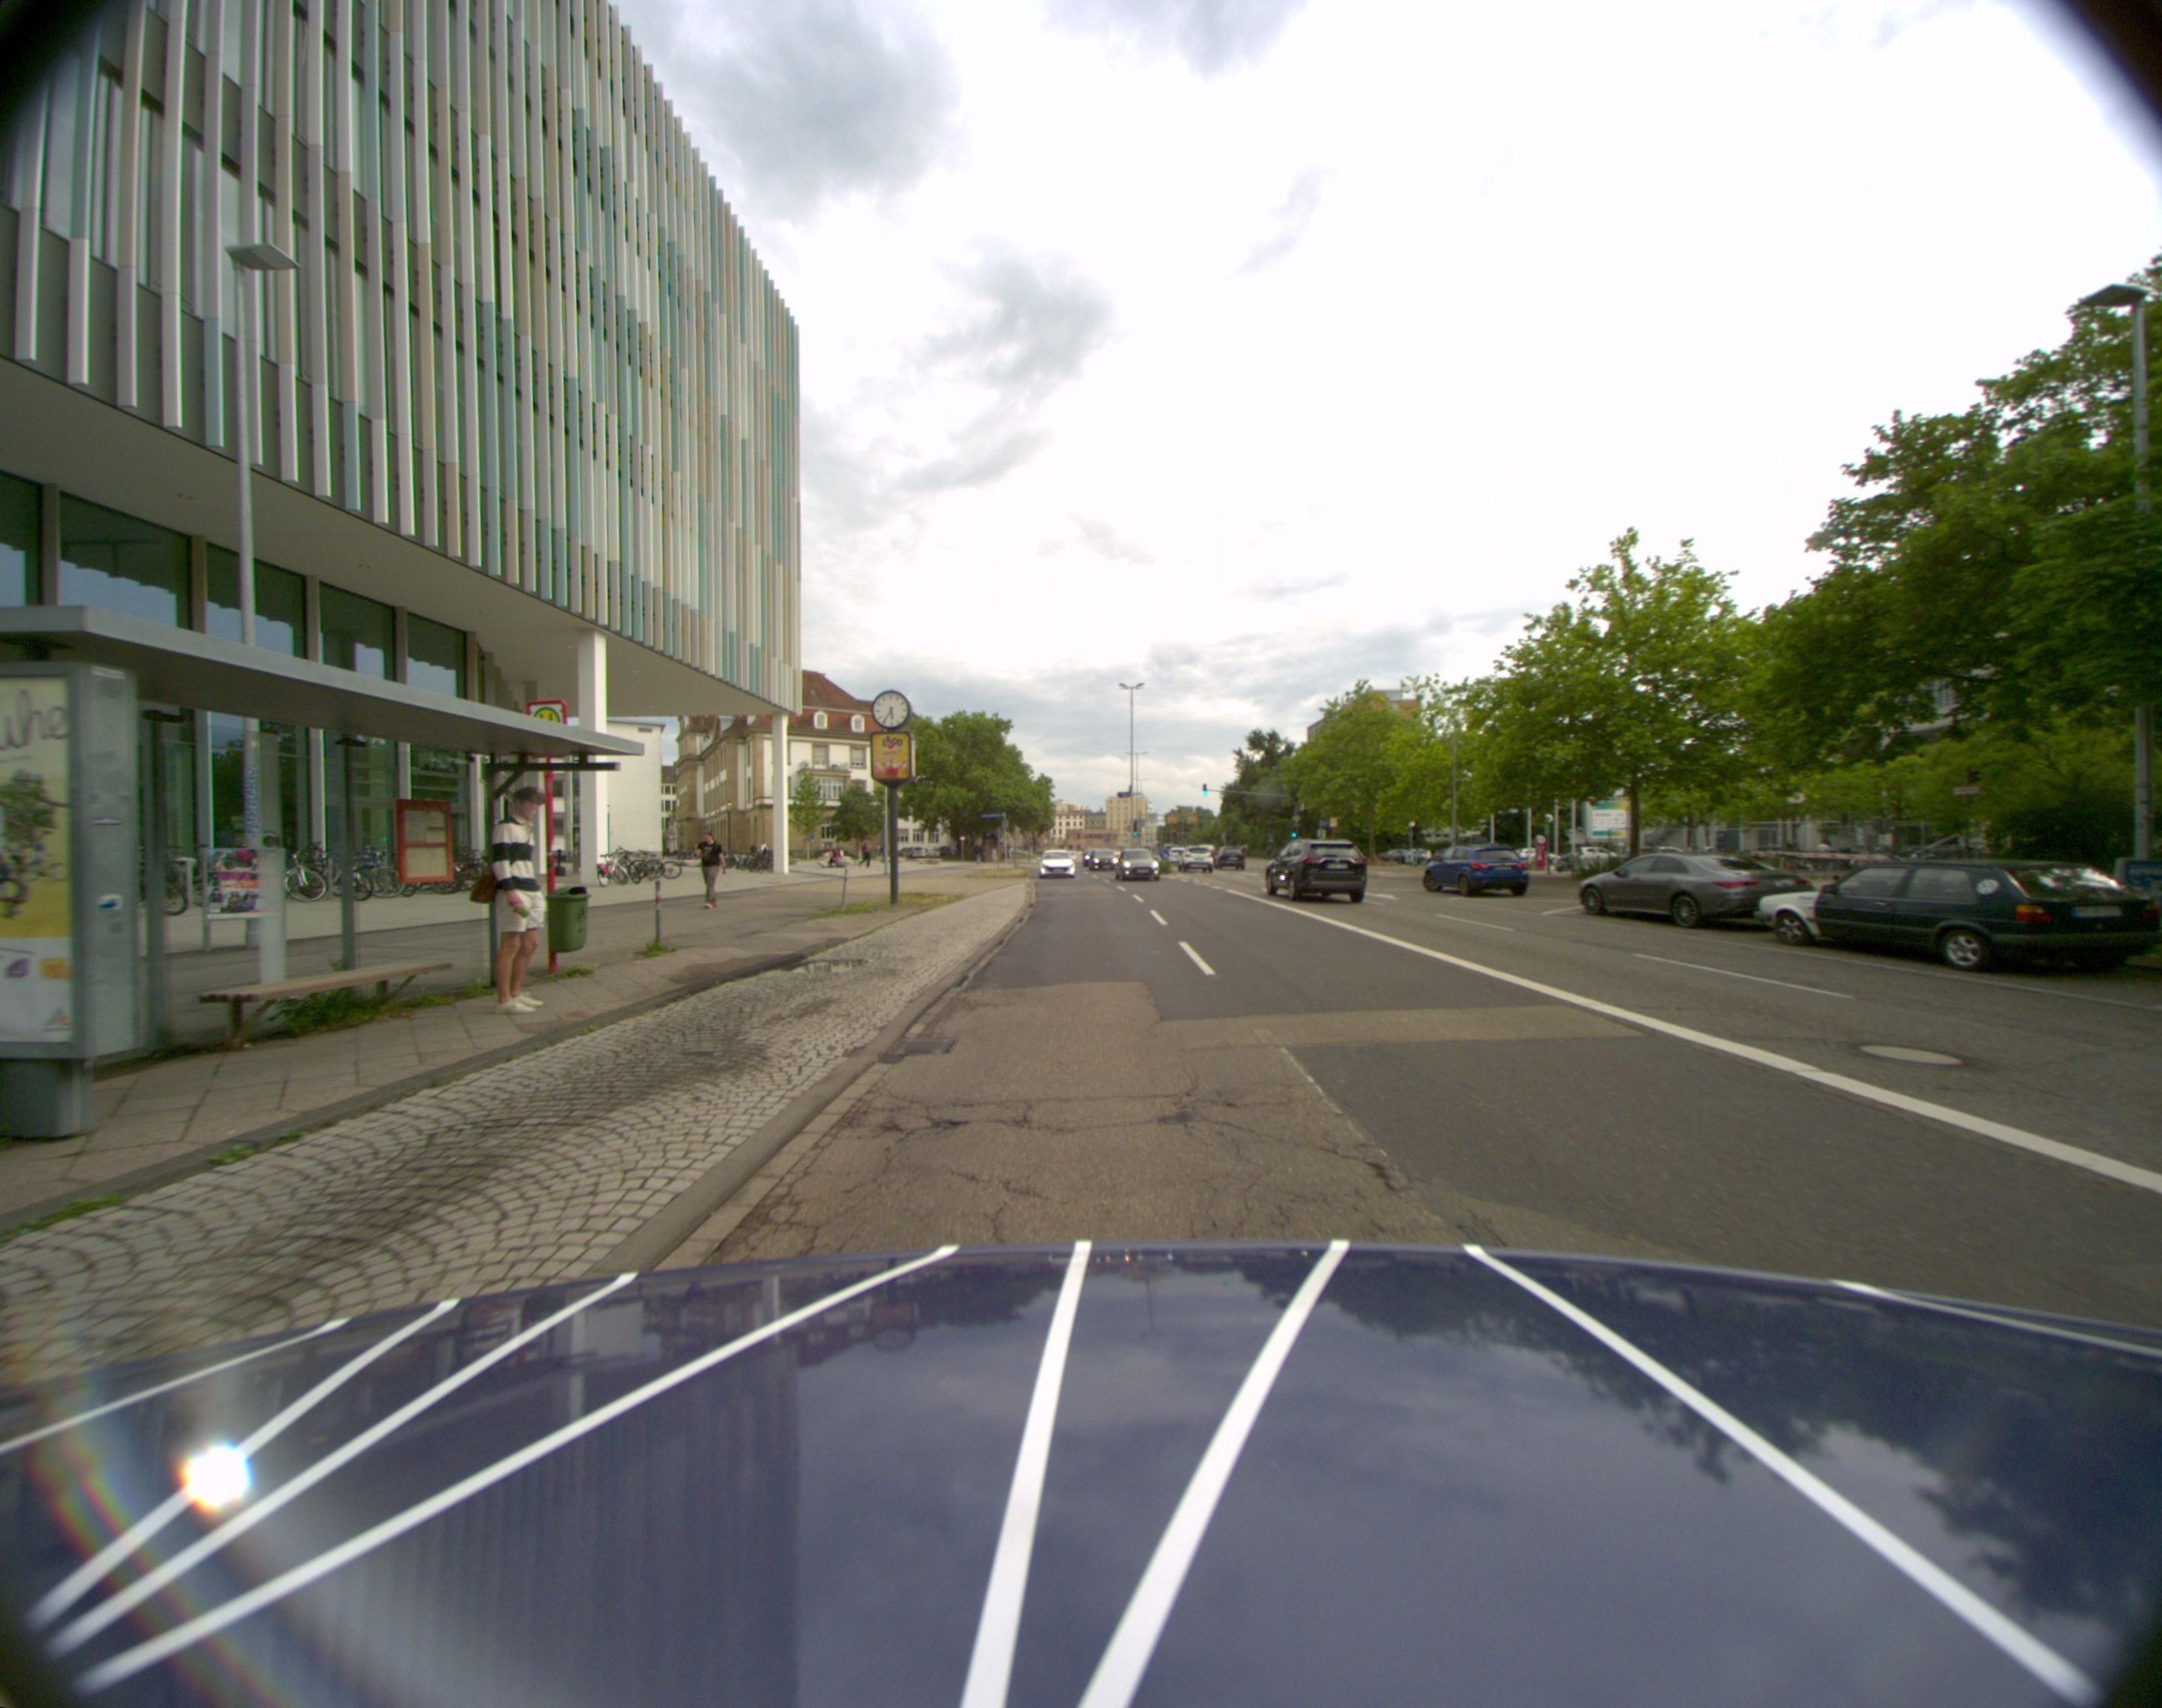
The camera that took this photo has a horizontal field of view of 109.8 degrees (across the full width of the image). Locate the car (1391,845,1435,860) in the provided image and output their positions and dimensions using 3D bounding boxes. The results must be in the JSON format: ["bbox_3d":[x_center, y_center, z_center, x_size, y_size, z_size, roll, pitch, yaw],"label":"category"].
[{"bbox_3d":[33.732,-0.162,77.300,3.593,1.442,1.863,-1,1,1],"label":"car"}]

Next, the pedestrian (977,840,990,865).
[{"bbox_3d":[-8.004,-0.142,62.323,0.844,2.002,0.894,0,1,3],"label":"pedestrian"}]

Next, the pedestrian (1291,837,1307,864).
[{"bbox_3d":[16.213,-0.291,56.515,0.896,2.002,1.009,0,1,-1],"label":"pedestrian"}]

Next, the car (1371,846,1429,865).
[{"bbox_3d":[27.604,0.091,65.766,4.153,1.463,1.999,-2,1,-2],"label":"car"}]

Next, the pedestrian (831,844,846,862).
[{"bbox_3d":[-18.175,-0.072,56.995,0.912,1.359,0.878,-2,1,-8],"label":"pedestrian"}]

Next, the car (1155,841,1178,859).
[{"bbox_3d":[8.790,-0.424,78.239,1.998,1.677,4.948,-2,0,3],"label":"car"}]

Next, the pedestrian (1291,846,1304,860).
[{"bbox_3d":[22.443,-0.065,78.792,0.701,1.420,0.998,-3,1,-27],"label":"pedestrian"}]

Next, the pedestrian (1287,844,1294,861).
[{"bbox_3d":[21.008,-0.170,76.247,0.590,1.685,0.653,0,1,4],"label":"pedestrian"}]

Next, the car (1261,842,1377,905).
[{"bbox_3d":[6.463,0.456,21.221,1.907,1.584,4.516,0,1,1],"label":"car"}]

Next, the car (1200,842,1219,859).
[{"bbox_3d":[14.479,-0.386,86.013,1.775,1.837,4.490,-2,1,6],"label":"car"}]

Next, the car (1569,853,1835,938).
[{"bbox_3d":[12.275,0.717,15.540,1.878,1.416,4.729,-1,0,5],"label":"car"}]

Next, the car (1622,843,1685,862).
[{"bbox_3d":[49.526,-0.137,65.735,3.996,1.544,1.889,0,1,1],"label":"car"}]

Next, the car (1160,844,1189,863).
[{"bbox_3d":[7.892,-0.052,64.377,1.908,1.457,4.910,-2,1,1],"label":"car"}]

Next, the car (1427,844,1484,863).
[{"bbox_3d":[32.419,-0.051,65.838,3.998,1.463,1.999,-2,1,-2],"label":"car"}]

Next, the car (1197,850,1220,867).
[{"bbox_3d":[12.931,0.407,77.129,1.702,1.680,4.000,0,1,1],"label":"car"}]

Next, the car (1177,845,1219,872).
[{"bbox_3d":[7.090,0.223,46.419,1.998,1.538,4.179,1,1,1],"label":"car"}]

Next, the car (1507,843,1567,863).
[{"bbox_3d":[39.459,-0.074,65.775,3.997,1.570,2.000,-2,1,0],"label":"car"}]

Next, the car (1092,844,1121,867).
[{"bbox_3d":[1.747,0.088,50.876,1.731,1.450,4.001,0,1,5],"label":"car"}]

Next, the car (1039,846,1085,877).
[{"bbox_3d":[-0.953,0.367,39.938,1.812,1.533,4.002,0,1,8],"label":"car"}]

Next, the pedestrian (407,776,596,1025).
[{"bbox_3d":[-5.005,0.388,6.632,0.914,2.001,0.854,2,-1,0],"label":"pedestrian"}]

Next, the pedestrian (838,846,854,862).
[{"bbox_3d":[-17.984,-0.001,58.124,0.911,1.250,0.879,-2,1,4],"label":"pedestrian"}]

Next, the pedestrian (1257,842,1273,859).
[{"bbox_3d":[21.912,-0.421,90.564,1.185,2.002,1.350,-2,1,-18],"label":"pedestrian"}]

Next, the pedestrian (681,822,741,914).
[{"bbox_3d":[-8.301,0.303,17.076,0.844,2.002,0.894,2,1,3],"label":"pedestrian"}]

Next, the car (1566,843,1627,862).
[{"bbox_3d":[44.669,-0.127,65.857,3.997,1.674,1.853,0,1,0],"label":"car"}]

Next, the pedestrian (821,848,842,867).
[{"bbox_3d":[-15.709,0.235,47.825,0.892,1.186,0.846,0,1,15],"label":"pedestrian"}]

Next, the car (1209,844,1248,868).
[{"bbox_3d":[10.572,0.091,54.788,1.998,1.684,4.468,0,1,1],"label":"car"}]

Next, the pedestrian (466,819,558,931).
[{"bbox_3d":[-9.558,0.337,12.804,0.845,1.825,0.894,0,1,-1],"label":"pedestrian"}]

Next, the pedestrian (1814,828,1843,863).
[{"bbox_3d":[43.825,-0.496,44.566,0.896,2.002,0.796,0,1,8],"label":"pedestrian"}]

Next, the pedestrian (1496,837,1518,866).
[{"bbox_3d":[30.072,-0.179,53.659,0.796,2.002,1.096,0,1,-16],"label":"pedestrian"}]

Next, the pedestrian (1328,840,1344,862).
[{"bbox_3d":[20.852,-0.246,62.202,0.897,1.793,0.935,1,1,-2],"label":"pedestrian"}]

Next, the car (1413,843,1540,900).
[{"bbox_3d":[12.645,0.497,24.654,1.863,1.598,4.593,-2,1,3],"label":"car"}]

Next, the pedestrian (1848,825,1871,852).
[{"bbox_3d":[59.294,-1.187,57.863,0.796,2.002,0.946,0,1,-16],"label":"pedestrian"}]

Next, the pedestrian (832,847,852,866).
[{"bbox_3d":[-15.246,0.150,48.410,0.843,1.199,0.896,1,1,35],"label":"pedestrian"}]

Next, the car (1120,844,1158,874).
[{"bbox_3d":[2.689,0.199,34.856,1.624,1.310,3.706,0,1,5],"label":"car"}]

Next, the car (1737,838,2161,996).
[{"bbox_3d":[11.852,0.690,10.574,1.998,1.680,4.000,-3,1,1],"label":"car"}]
